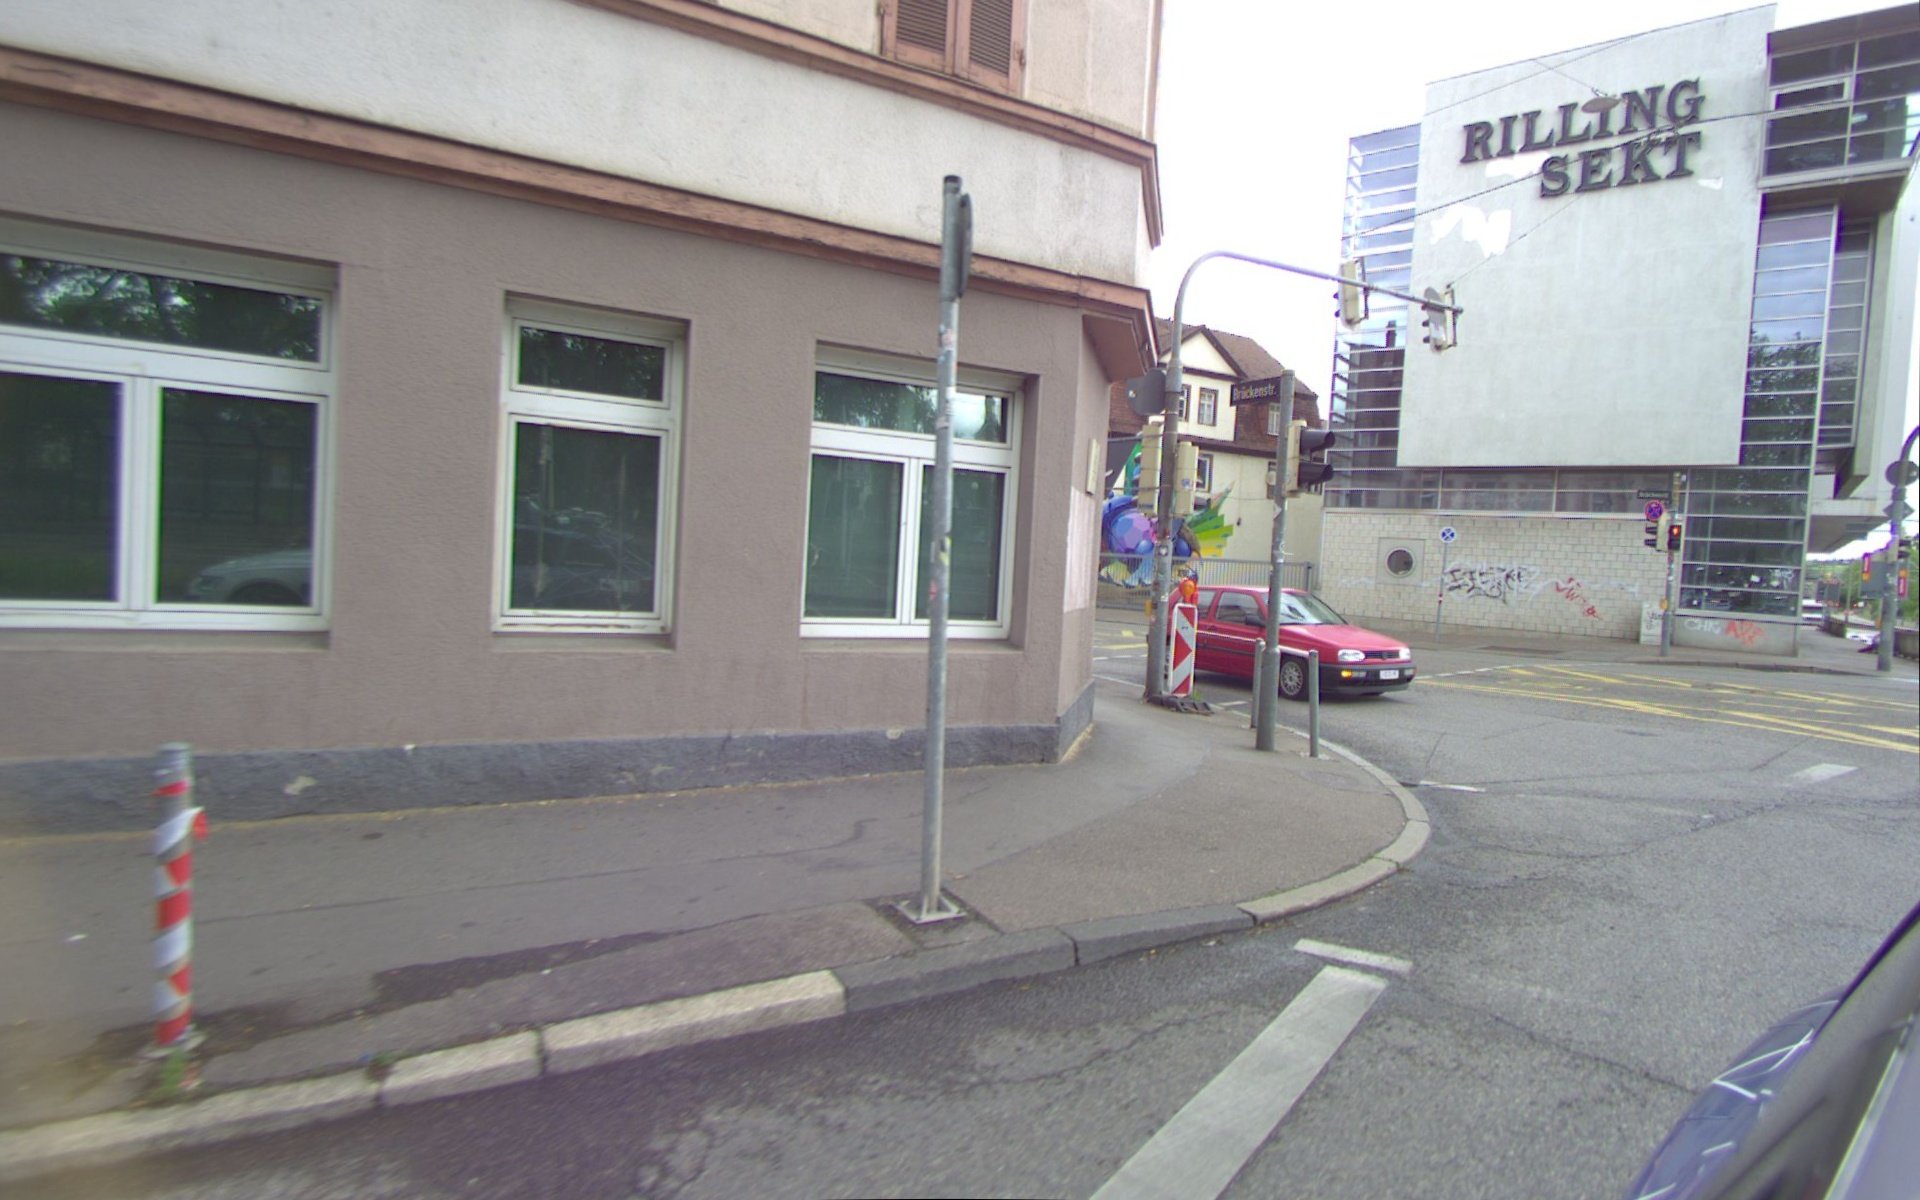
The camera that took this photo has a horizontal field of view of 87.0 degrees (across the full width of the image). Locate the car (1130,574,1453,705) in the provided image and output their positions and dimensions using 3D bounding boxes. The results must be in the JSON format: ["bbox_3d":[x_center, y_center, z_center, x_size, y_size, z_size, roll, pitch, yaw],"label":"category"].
[{"bbox_3d":[4.460,0.415,14.290,1.814,1.440,4.179,0,3,-29],"label":"car"}]
